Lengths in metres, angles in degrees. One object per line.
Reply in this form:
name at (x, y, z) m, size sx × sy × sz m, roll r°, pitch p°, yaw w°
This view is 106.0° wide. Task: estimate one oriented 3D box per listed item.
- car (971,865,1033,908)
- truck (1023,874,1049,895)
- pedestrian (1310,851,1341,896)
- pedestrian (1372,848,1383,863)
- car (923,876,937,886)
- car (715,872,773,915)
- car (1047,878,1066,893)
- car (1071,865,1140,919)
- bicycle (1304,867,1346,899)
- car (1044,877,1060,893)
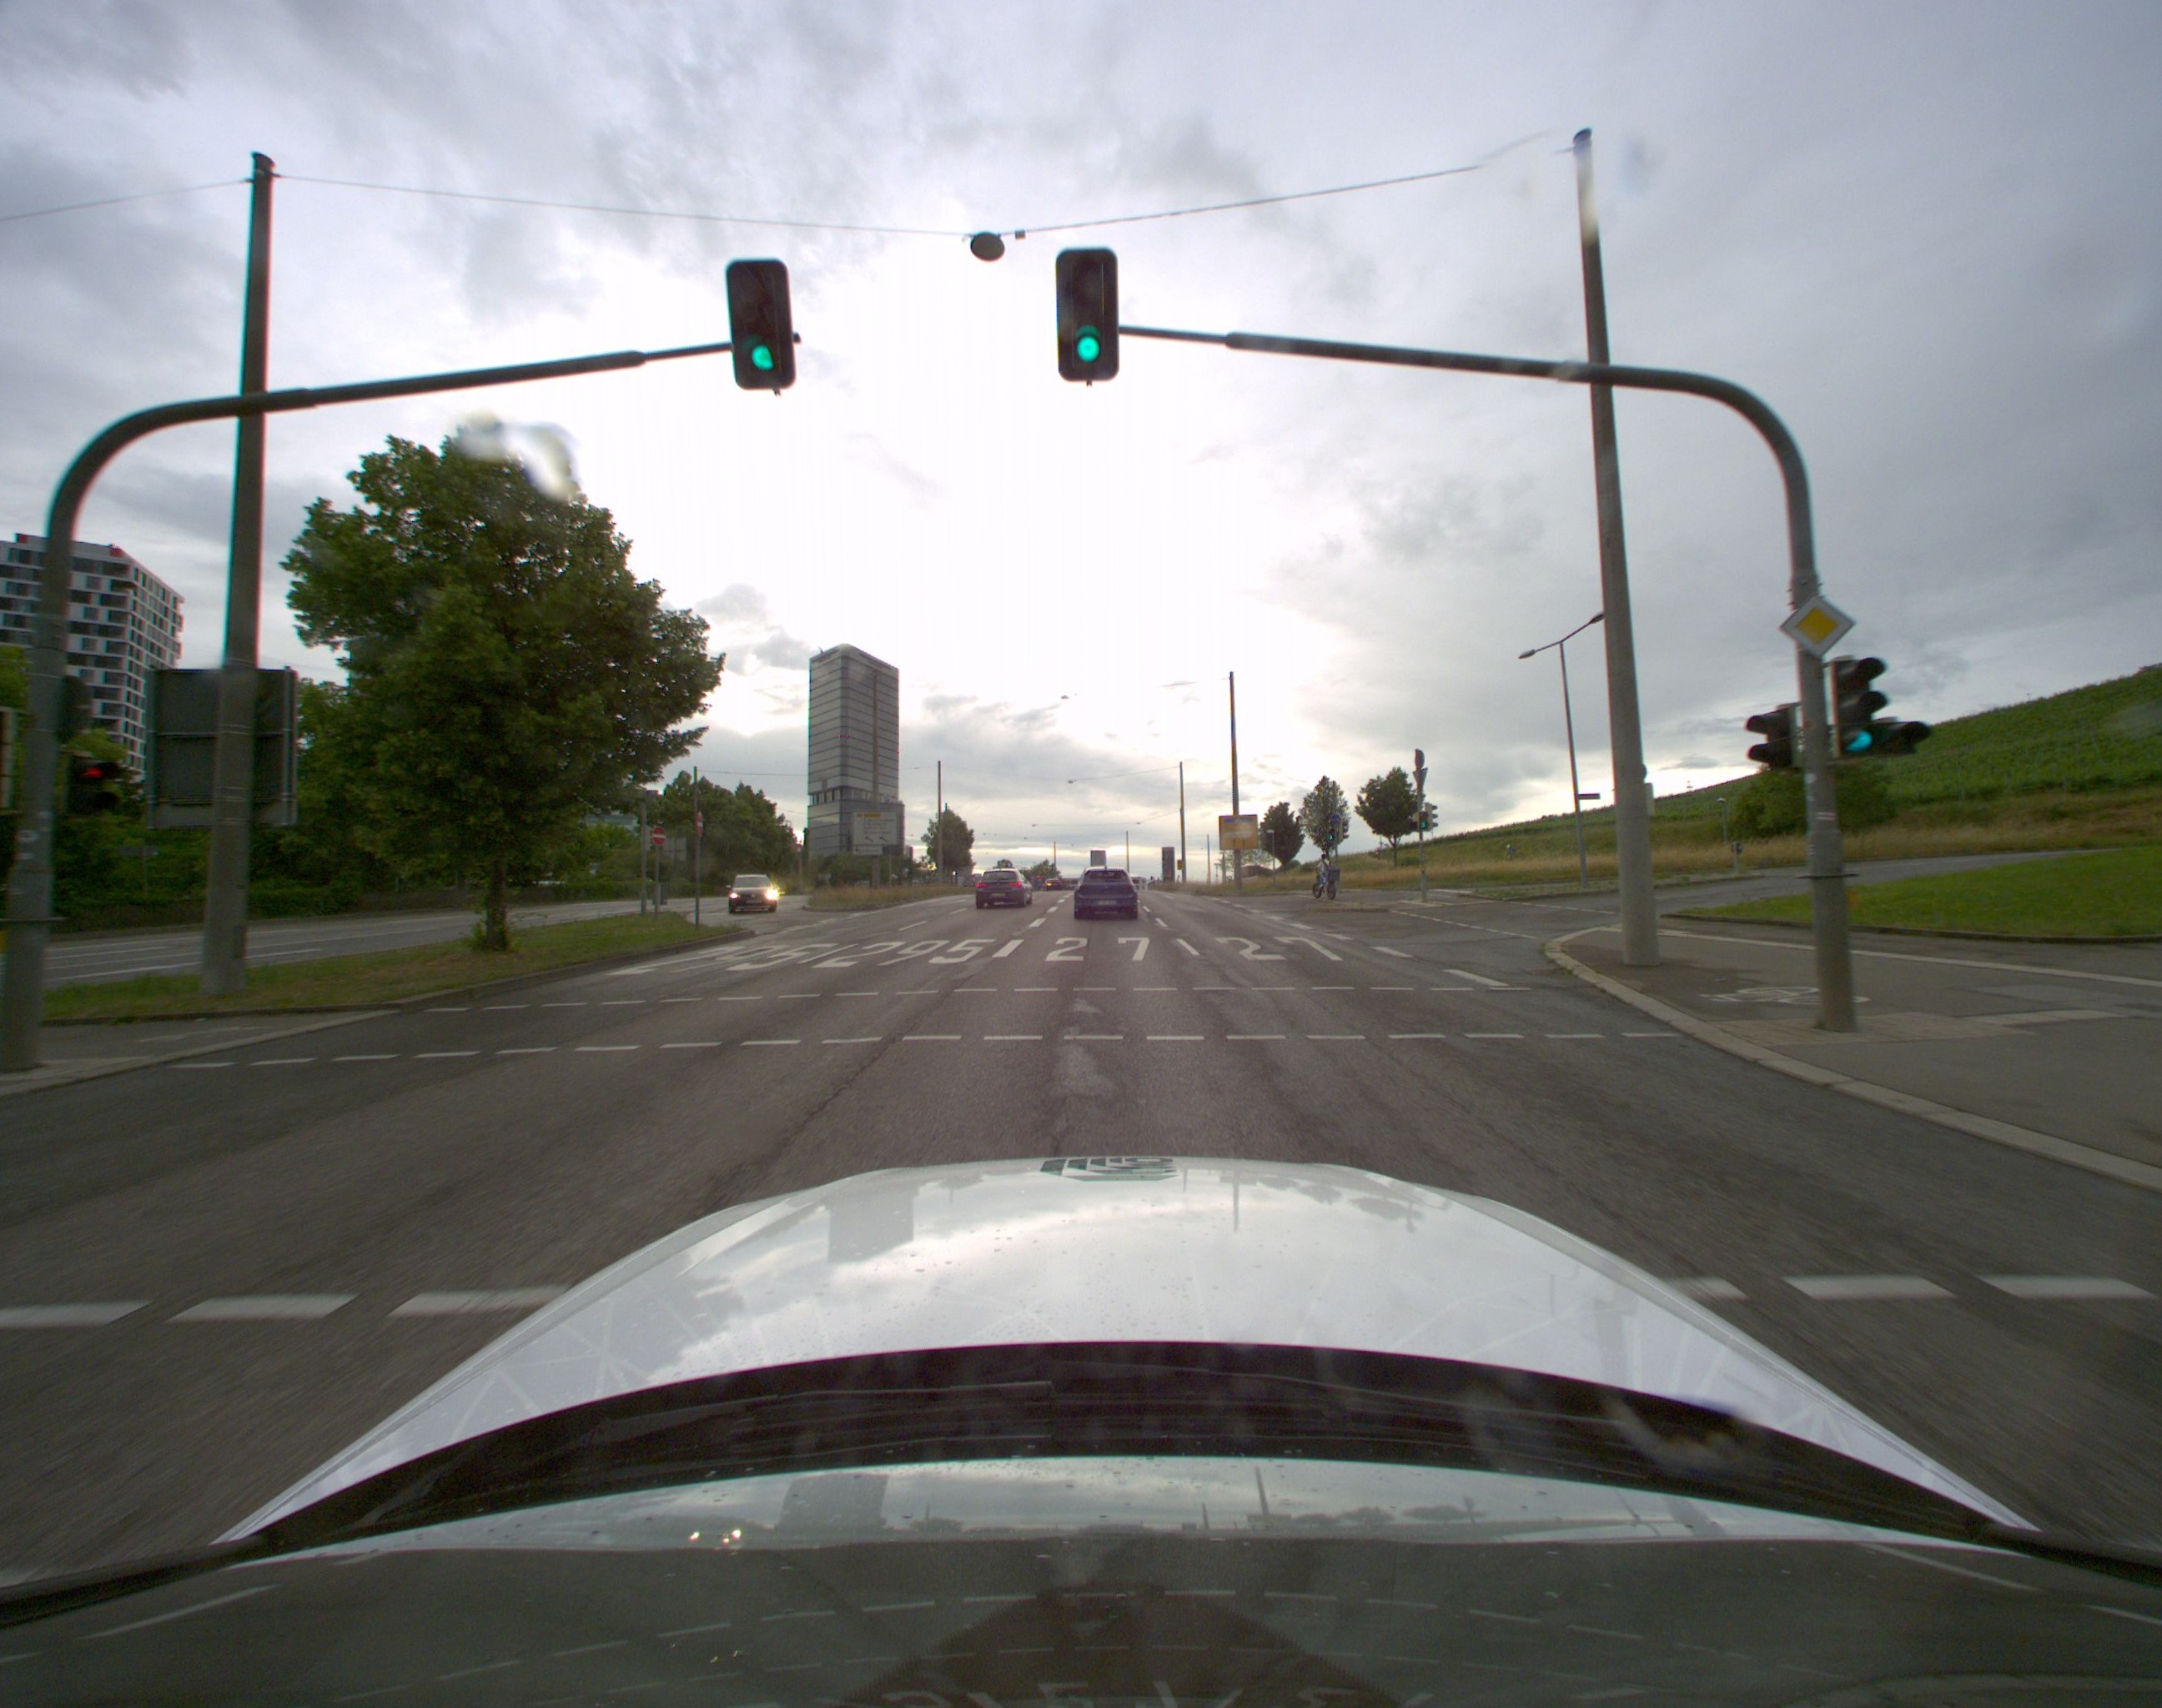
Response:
car at (-2.875, 1.171, 30.414) m, size 1.862 × 1.461 × 3.976 m, roll -1°, pitch -1°, yaw 1°
truck at (-7.171, 4.859, 128.879) m, size 2.672 × 3.221 × 6.511 m, roll 1°, pitch -3°, yaw -16°
pedestrian at (9.022, 0.711, 30.091) m, size 0.633 × 1.570 × 0.891 m, roll -5°, pitch 0°, yaw -13°
pedestrian at (39.209, 0.215, 107.703) m, size 0.784 × 2.014 × 1.044 m, roll -2°, pitch -2°, yaw -31°
car at (-24.354, 4.364, 131.207) m, size 1.895 × 1.658 × 4.584 m, roll 0°, pitch -2°, yaw -13°
car at (-13.029, 1.494, 31.697) m, size 1.896 × 1.507 × 3.972 m, roll -2°, pitch -1°, yaw -21°
car at (-2.713, 3.453, 90.694) m, size 1.715 × 1.541 × 3.706 m, roll 1°, pitch -1°, yaw 3°
car at (0.734, 1.041, 23.605) m, size 1.830 × 1.393 × 4.002 m, roll 0°, pitch 0°, yaw 2°
bicycle at (9.029, 1.062, 30.222) m, size 0.633 × 1.105 × 1.745 m, roll -5°, pitch -1°, yaw -13°
car at (-4.034, 4.249, 112.247) m, size 1.902 × 1.973 × 5.080 m, roll -2°, pitch -4°, yaw -6°
